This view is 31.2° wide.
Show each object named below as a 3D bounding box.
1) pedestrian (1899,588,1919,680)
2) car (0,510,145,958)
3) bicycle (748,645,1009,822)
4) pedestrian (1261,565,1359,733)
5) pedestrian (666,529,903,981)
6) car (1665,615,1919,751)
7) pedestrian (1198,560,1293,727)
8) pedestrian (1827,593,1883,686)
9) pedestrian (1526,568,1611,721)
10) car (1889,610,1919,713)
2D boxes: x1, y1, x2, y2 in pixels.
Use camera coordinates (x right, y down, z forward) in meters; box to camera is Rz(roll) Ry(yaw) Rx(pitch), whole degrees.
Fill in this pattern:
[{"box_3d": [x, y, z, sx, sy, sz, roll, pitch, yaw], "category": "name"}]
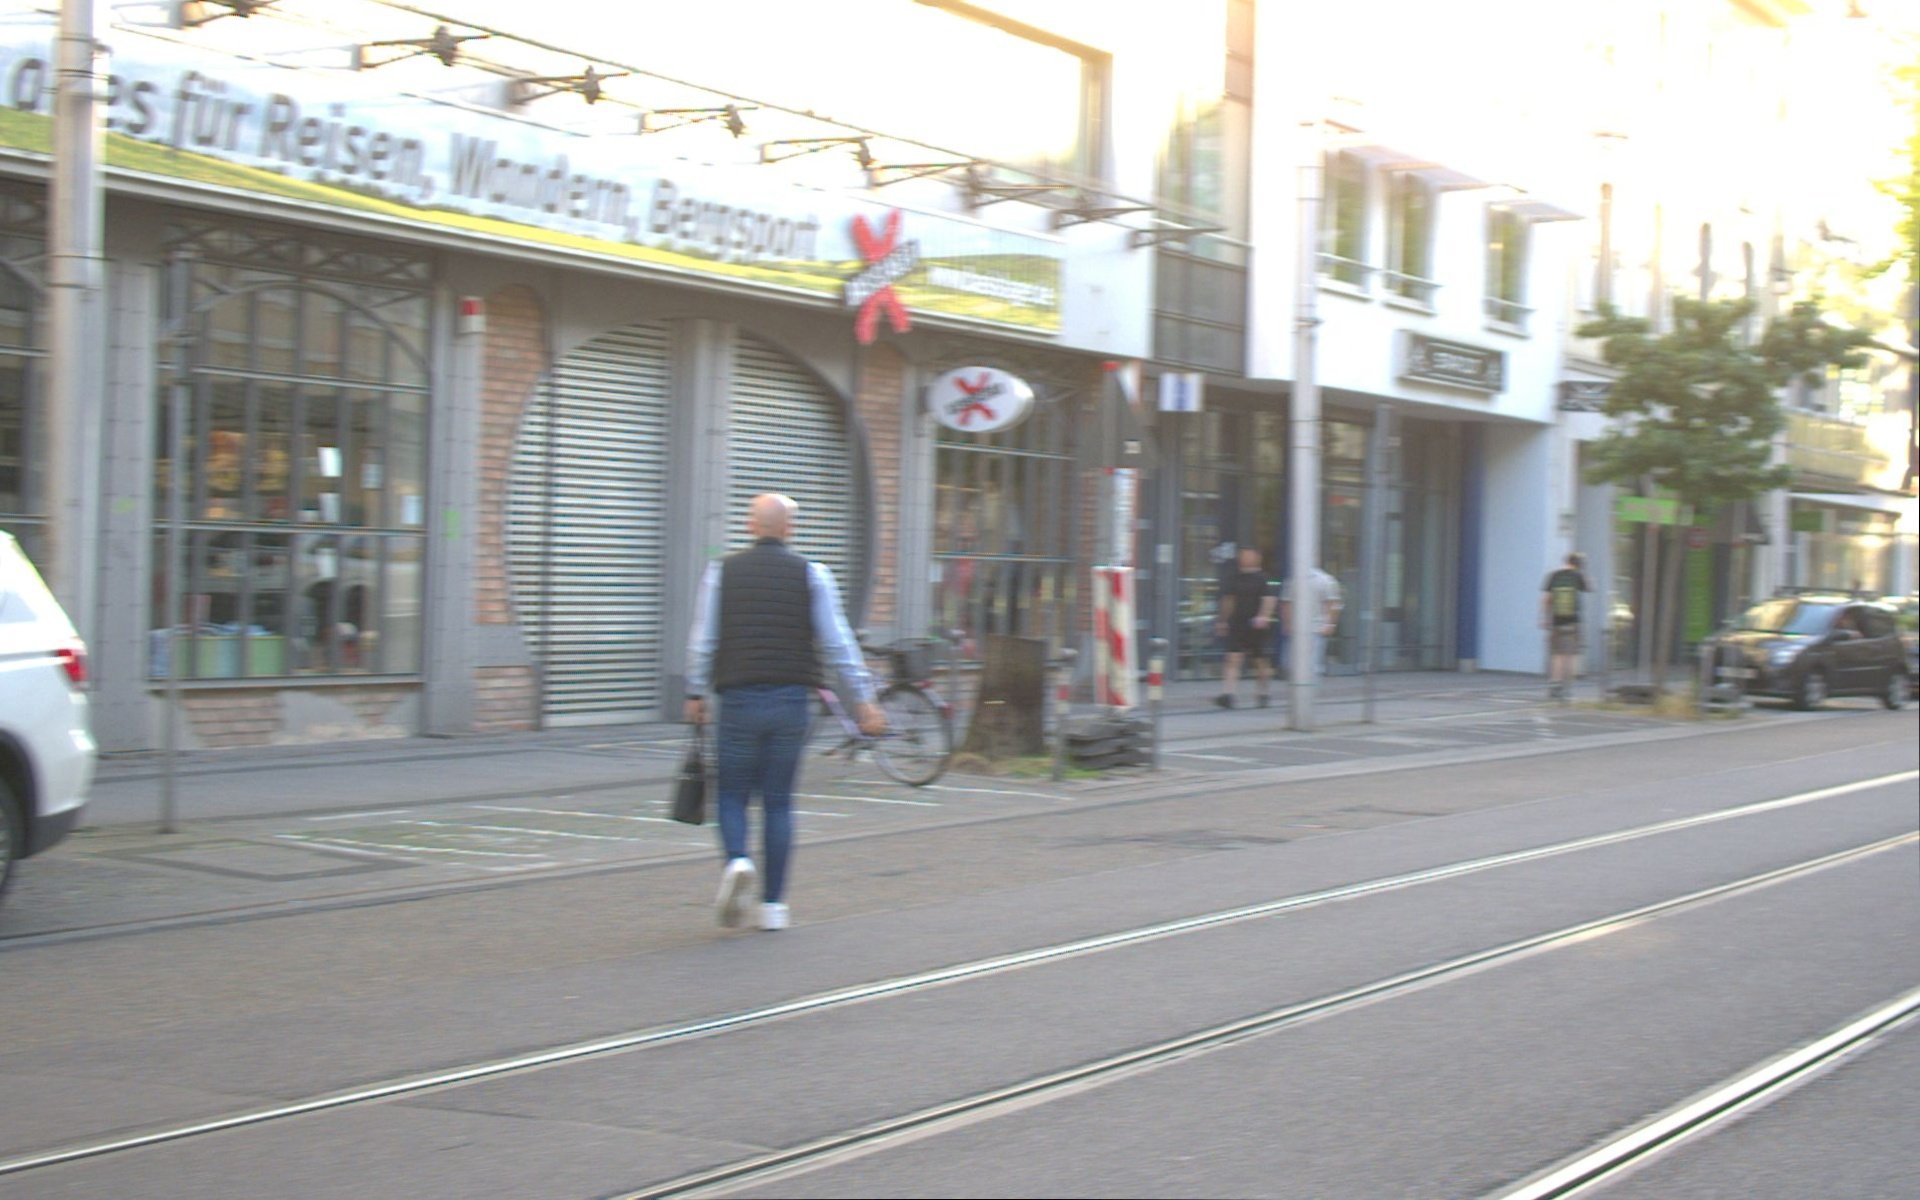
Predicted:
[{"box_3d": [17.882, 0.635, 63.555, 0.845, 1.687, 0.739, 2, 0, 27], "category": "pedestrian"}, {"box_3d": [-5.361, 0.467, 12.516, 1.997, 1.748, 4.737, 4, 2, 27], "category": "car"}, {"box_3d": [-0.564, 0.883, 23.185, 1.749, 0.988, 0.477, 6, 3, 35], "category": "bicycle"}, {"box_3d": [3.676, 0.508, 36.104, 0.643, 1.707, 0.828, 4, 1, 31], "category": "pedestrian"}, {"box_3d": [-0.725, 0.607, 13.953, 0.850, 1.760, 0.832, 2, 0, -7], "category": "pedestrian"}, {"box_3d": [10.970, 1.078, 45.097, 1.634, 1.610, 3.699, 5, 2, 42], "category": "car"}, {"box_3d": [3.027, 0.457, 36.409, 0.628, 1.707, 0.806, 4, 1, 31], "category": "pedestrian"}, {"box_3d": [16.632, 0.737, 63.851, 0.790, 1.687, 0.912, 2, 0, 27], "category": "pedestrian"}, {"box_3d": [7.509, 0.540, 42.435, 0.661, 1.819, 0.877, 5, 2, 27], "category": "pedestrian"}, {"box_3d": [15.313, 0.958, 52.242, 1.794, 1.485, 4.238, 4, 1, 21], "category": "car"}]
